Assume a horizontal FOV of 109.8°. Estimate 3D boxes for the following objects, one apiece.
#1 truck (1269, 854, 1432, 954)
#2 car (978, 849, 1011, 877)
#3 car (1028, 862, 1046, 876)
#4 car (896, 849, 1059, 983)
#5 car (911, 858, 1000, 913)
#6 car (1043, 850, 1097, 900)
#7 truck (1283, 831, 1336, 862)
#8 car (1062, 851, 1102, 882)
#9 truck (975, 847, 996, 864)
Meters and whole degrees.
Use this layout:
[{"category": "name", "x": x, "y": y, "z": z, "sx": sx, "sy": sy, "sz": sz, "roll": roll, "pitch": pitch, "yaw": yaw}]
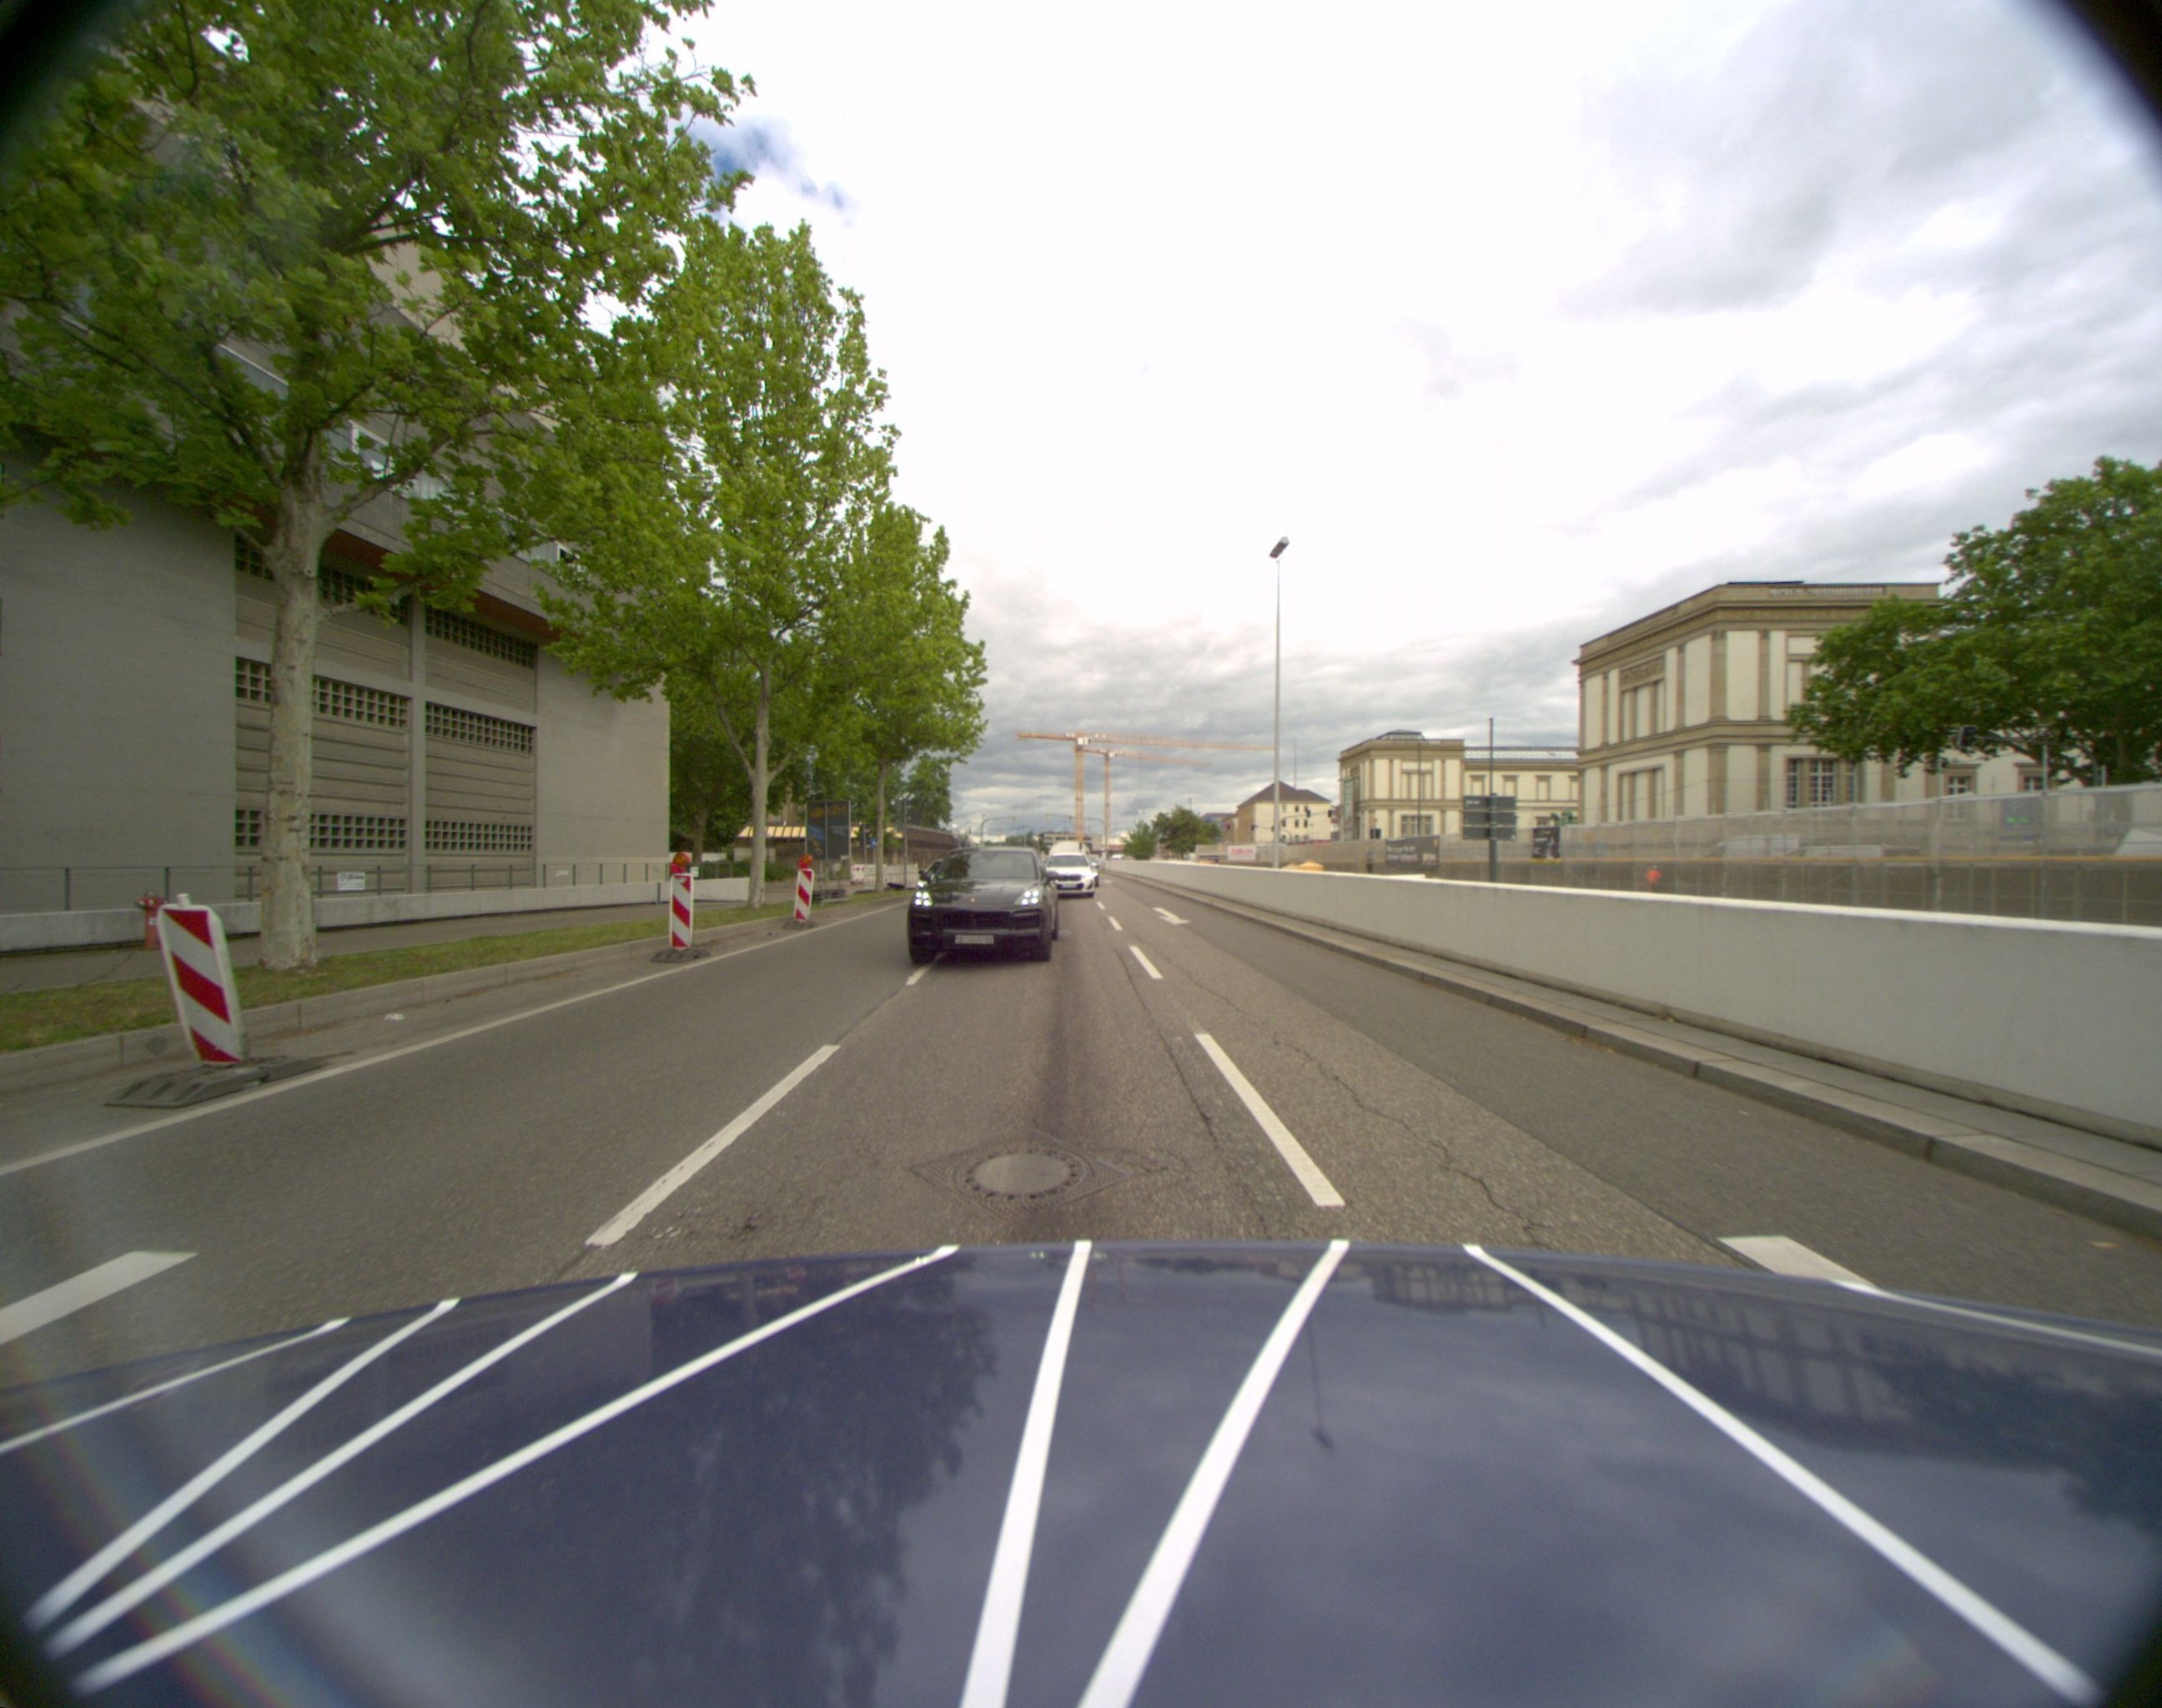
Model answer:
[{"category": "truck", "x": 8.102, "y": 1.421, "z": 23.835, "sx": 2.609, "sy": 2.696, "sz": 6.674, "roll": 1, "pitch": -1, "yaw": -2}, {"category": "car", "x": -5.799, "y": 0.560, "z": 51.275, "sx": 1.812, "sy": 1.815, "sz": 3.772, "roll": 1, "pitch": 0, "yaw": -1}, {"category": "car", "x": -5.432, "y": 1.817, "z": 94.256, "sx": 1.999, "sy": 1.632, "sz": 3.999, "roll": 1, "pitch": 1, "yaw": -1}, {"category": "car", "x": -1.390, "y": 0.783, "z": 12.081, "sx": 1.956, "sy": 1.638, "sz": 4.607, "roll": -1, "pitch": 1, "yaw": 0}, {"category": "car", "x": -3.600, "y": 0.850, "z": 22.589, "sx": 1.738, "sy": 1.427, "sz": 4.382, "roll": 1, "pitch": 0, "yaw": 3}, {"category": "car", "x": -0.358, "y": 0.694, "z": 27.702, "sx": 1.812, "sy": 1.596, "sz": 3.712, "roll": -2, "pitch": 1, "yaw": 0}, {"category": "truck", "x": 32.836, "y": -0.929, "z": 110.090, "sx": 2.924, "sy": 4.058, "sz": 16.616, "roll": 1, "pitch": -1, "yaw": 1}, {"category": "car", "x": 0.108, "y": 0.603, "z": 37.142, "sx": 1.852, "sy": 1.412, "sz": 4.105, "roll": -1, "pitch": 0, "yaw": 2}, {"category": "truck", "x": -21.035, "y": 0.316, "z": 166.983, "sx": 2.913, "sy": 3.653, "sz": 9.013, "roll": 0, "pitch": 0, "yaw": -17}]
